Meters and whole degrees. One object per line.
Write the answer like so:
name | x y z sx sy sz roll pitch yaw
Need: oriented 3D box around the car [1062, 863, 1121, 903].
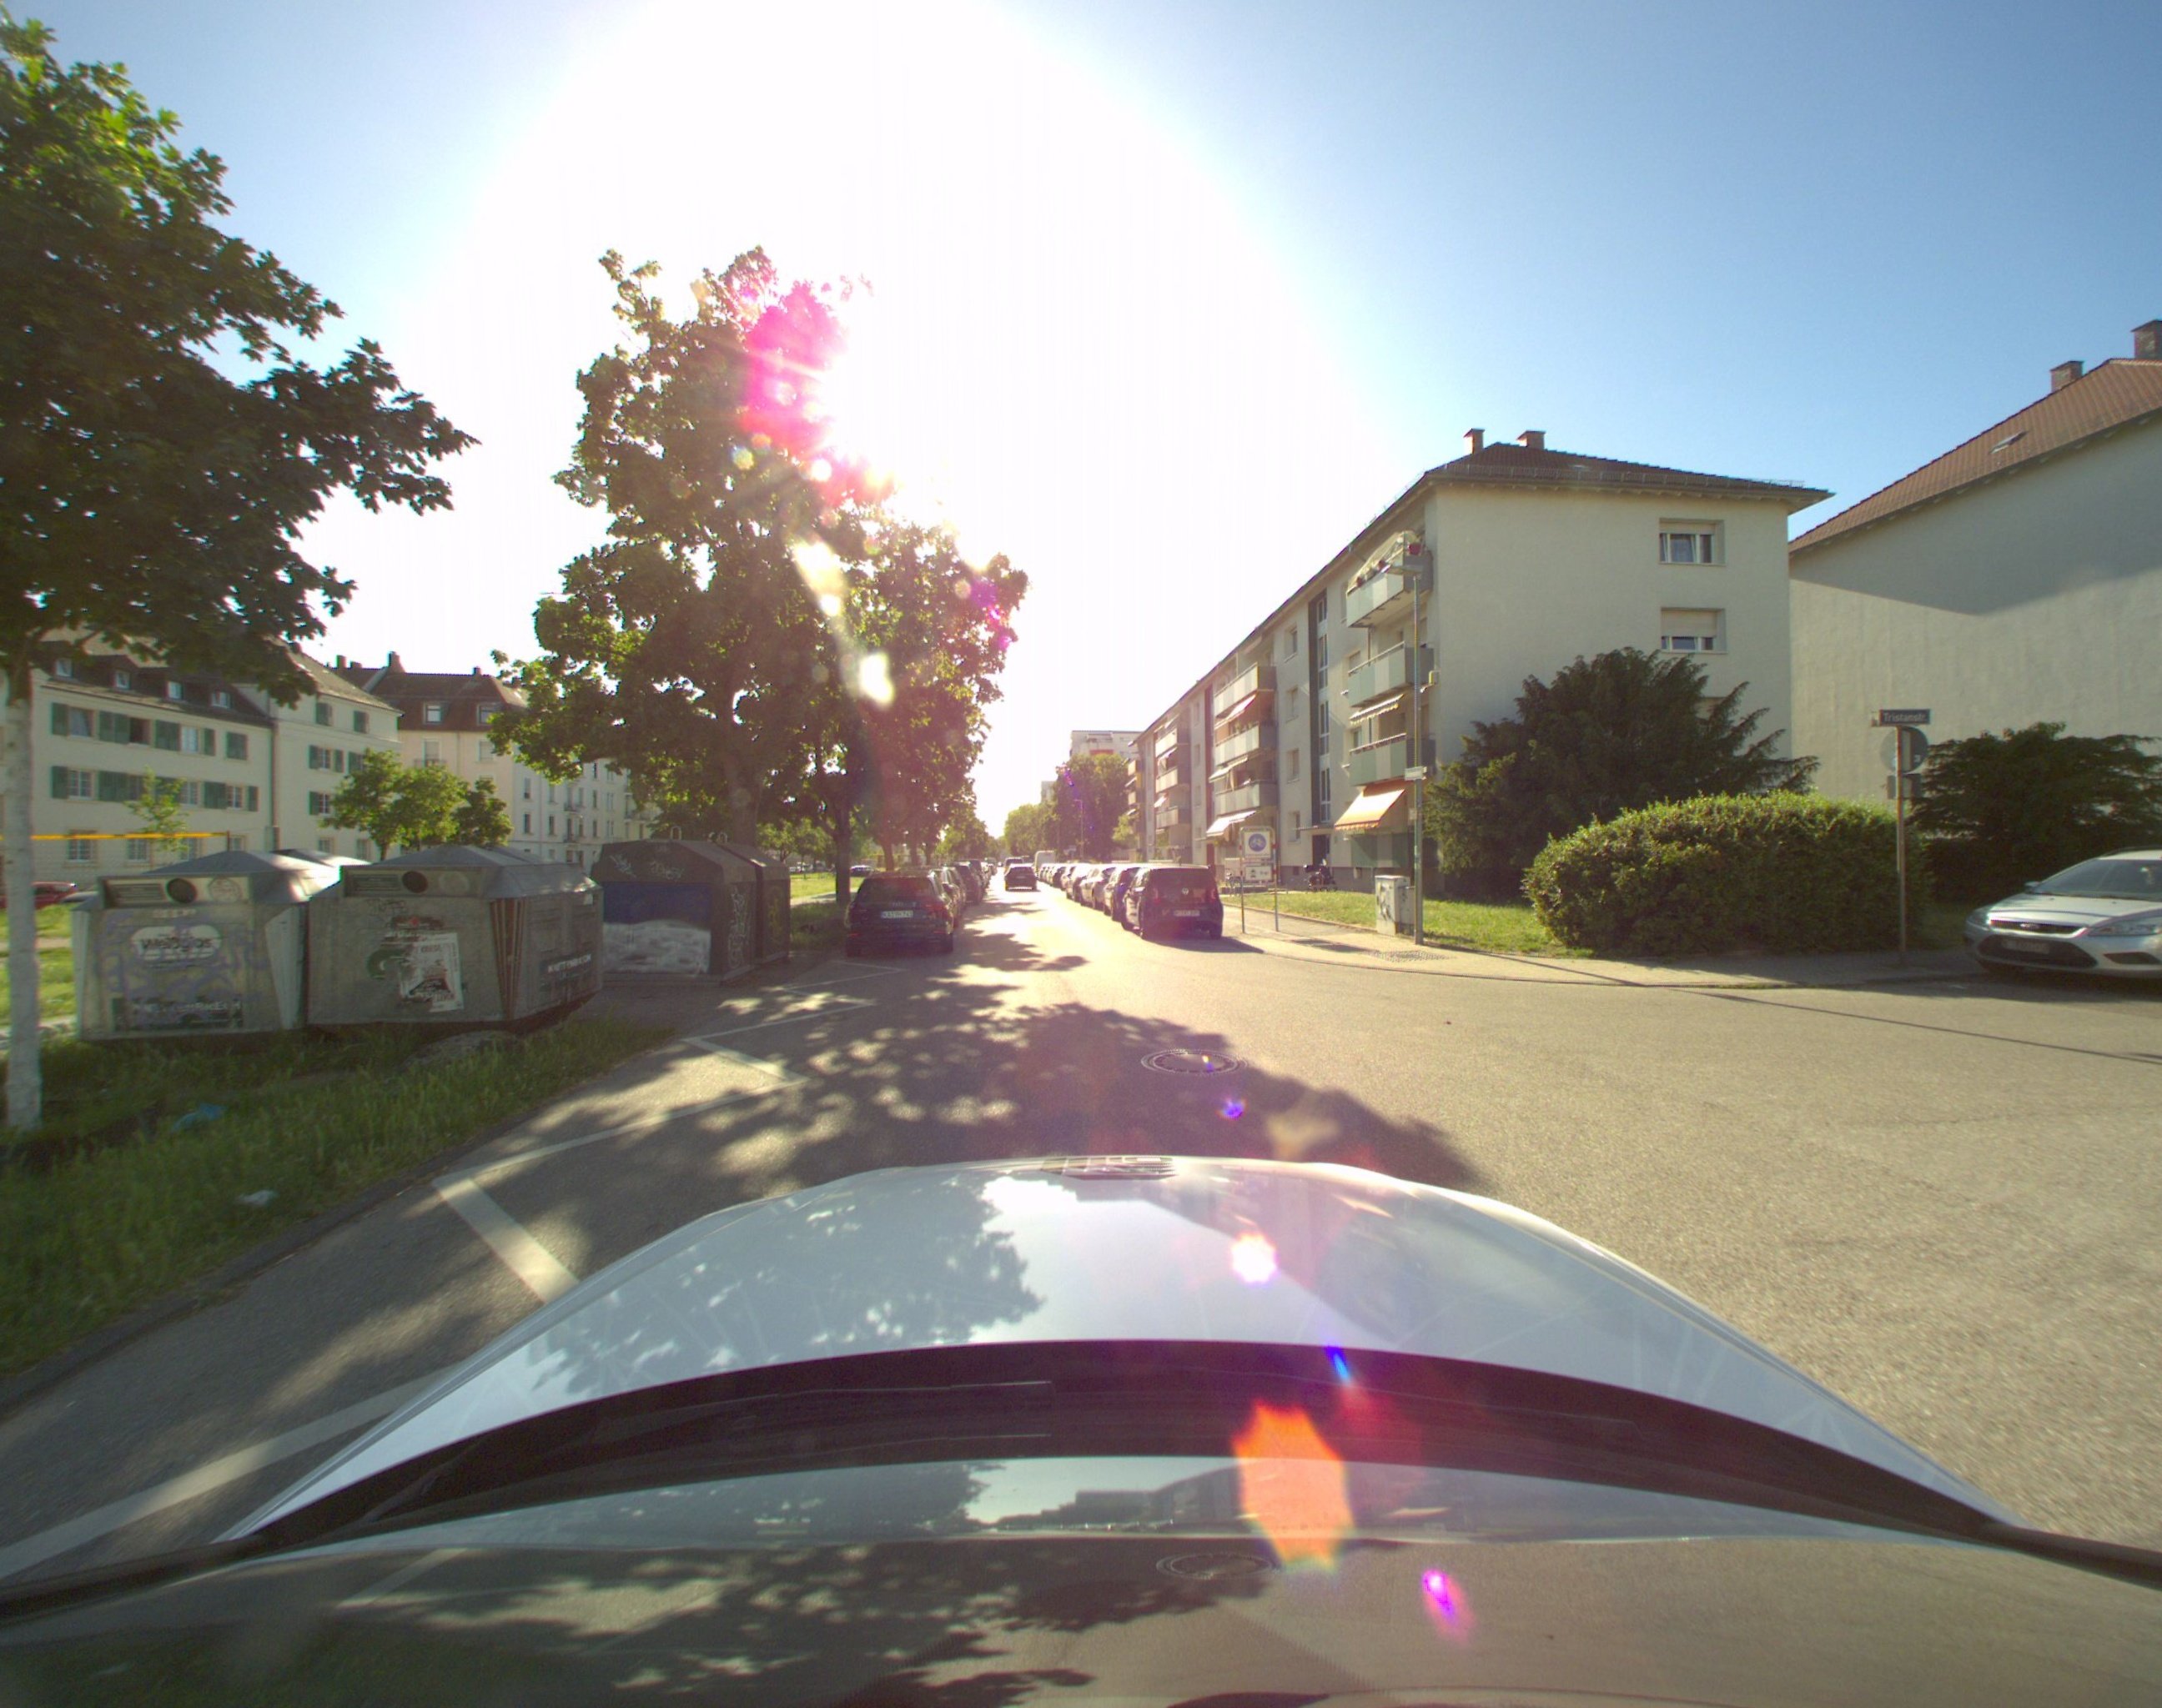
car | 0.352 1.133 33.735 1.841 1.473 5.053 -1 -1 -7

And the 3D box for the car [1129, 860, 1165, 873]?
car | 7.591 1.464 93.838 3.887 1.429 1.653 -1 -1 -10

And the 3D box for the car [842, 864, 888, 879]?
car | -22.368 1.771 84.356 4.361 1.409 1.902 0 1 -31

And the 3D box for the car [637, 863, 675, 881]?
car | -45.896 1.877 88.123 2.080 1.872 5.083 -1 -1 -8

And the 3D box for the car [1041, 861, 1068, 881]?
car | -2.112 1.299 63.903 1.875 1.475 4.132 -1 -1 -6

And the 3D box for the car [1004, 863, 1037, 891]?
car | -3.443 1.278 46.245 1.776 1.531 3.993 0 -1 -5

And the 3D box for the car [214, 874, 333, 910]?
car | -47.162 2.172 47.751 2.151 1.886 5.147 -1 -1 -6

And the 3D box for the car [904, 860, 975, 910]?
car | -4.446 0.963 26.025 1.877 1.419 3.796 -1 -1 -5

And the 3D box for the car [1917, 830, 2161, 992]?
car | 12.672 0.562 9.479 4.405 1.623 1.909 -1 -1 -9

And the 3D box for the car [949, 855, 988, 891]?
car | -6.002 1.030 44.009 1.862 1.785 4.980 -1 -1 -6

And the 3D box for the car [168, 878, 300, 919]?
car | -40.649 2.077 39.249 2.313 1.750 4.002 -1 -1 -5

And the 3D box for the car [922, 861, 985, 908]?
car | -4.860 1.123 31.736 2.022 1.625 4.749 -2 0 -5

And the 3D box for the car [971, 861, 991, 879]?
car | -9.751 1.529 79.800 1.753 1.647 4.280 -2 0 -5

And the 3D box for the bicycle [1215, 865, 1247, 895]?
bicycle | 5.660 0.953 30.820 0.718 1.077 1.893 0 -1 -4

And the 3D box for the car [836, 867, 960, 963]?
car | -3.238 0.987 15.279 1.834 1.452 4.954 -1 -1 -8

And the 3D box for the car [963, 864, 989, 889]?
car | -6.812 1.436 52.767 1.585 1.492 3.676 -2 0 -7

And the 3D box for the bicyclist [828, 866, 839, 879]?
bicyclist | -26.240 1.951 86.321 0.881 1.364 0.617 -2 -5 -33

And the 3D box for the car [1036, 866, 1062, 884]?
car | -2.728 1.735 68.534 1.847 1.466 4.191 0 0 -7

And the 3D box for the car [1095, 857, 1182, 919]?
car | 1.508 0.872 22.876 1.767 1.529 4.550 -1 -1 -5

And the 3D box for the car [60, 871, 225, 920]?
car | -46.534 1.981 40.618 2.529 2.216 5.243 -1 -1 -8

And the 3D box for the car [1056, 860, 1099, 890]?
car | -0.239 1.118 44.646 1.747 1.499 3.849 -1 -1 -9

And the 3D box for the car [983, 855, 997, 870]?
car | -15.486 1.405 138.588 2.095 2.496 4.119 -1 -1 -5

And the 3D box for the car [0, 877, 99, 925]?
car | -45.786 2.010 35.029 2.262 1.905 4.156 -1 -1 -7

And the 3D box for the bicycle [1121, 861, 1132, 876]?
bicycle | 3.683 1.169 66.214 0.595 1.176 2.009 0 -2 -7

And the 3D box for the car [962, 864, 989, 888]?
car | -7.408 1.510 57.160 1.754 1.492 4.656 -2 0 -7

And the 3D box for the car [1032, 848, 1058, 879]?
car | -3.417 0.874 76.472 2.139 2.713 6.830 -2 0 -4

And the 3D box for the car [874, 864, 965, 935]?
car | -4.014 1.048 20.984 1.993 1.516 5.143 -2 0 -8

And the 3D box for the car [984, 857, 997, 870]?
car | -14.686 1.528 132.238 2.096 1.943 4.118 -1 -1 -6

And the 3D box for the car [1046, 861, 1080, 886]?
car | -1.212 1.243 53.152 1.698 1.435 4.460 -2 0 -7

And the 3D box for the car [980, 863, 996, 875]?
car | -11.572 1.886 101.736 1.745 1.425 3.909 -3 -1 -5

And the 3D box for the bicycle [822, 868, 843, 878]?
bicycle | -26.313 2.011 86.217 1.989 1.016 0.652 0 -1 -33

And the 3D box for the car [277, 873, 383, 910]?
car | -41.251 2.022 44.890 2.234 1.820 4.245 -1 -1 -8

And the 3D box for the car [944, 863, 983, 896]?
car | -5.447 1.130 37.965 1.535 1.428 4.080 -1 -1 -5

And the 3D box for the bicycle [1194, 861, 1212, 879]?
bicycle | 7.307 0.948 48.915 0.523 1.071 2.005 -3 0 -7

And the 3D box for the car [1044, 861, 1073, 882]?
car | -1.657 1.257 58.556 1.719 1.435 4.144 -1 0 -6

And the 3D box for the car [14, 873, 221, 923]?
car | -40.133 1.760 34.231 2.446 1.820 5.444 -1 -1 -5

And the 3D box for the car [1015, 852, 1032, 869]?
car | -9.440 1.104 133.350 2.162 2.689 5.399 -1 -1 -9

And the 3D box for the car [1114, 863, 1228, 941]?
car | 1.806 0.932 17.411 1.656 1.474 3.785 1 -1 -6

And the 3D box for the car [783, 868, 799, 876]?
car | -51.888 3.159 145.574 1.844 1.440 3.766 -1 -1 -6

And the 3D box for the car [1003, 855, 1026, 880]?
car | -5.762 1.162 70.397 1.891 1.991 4.003 -2 0 -5

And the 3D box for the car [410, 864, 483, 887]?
car | -56.440 1.879 72.515 4.561 2.014 2.133 0 -1 -10

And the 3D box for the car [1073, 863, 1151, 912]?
car | 0.976 1.084 28.397 1.873 1.534 4.478 -1 -1 -9

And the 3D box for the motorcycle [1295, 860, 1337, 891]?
motorcycle | 9.009 0.828 31.345 0.584 1.151 2.027 -1 -1 -15
